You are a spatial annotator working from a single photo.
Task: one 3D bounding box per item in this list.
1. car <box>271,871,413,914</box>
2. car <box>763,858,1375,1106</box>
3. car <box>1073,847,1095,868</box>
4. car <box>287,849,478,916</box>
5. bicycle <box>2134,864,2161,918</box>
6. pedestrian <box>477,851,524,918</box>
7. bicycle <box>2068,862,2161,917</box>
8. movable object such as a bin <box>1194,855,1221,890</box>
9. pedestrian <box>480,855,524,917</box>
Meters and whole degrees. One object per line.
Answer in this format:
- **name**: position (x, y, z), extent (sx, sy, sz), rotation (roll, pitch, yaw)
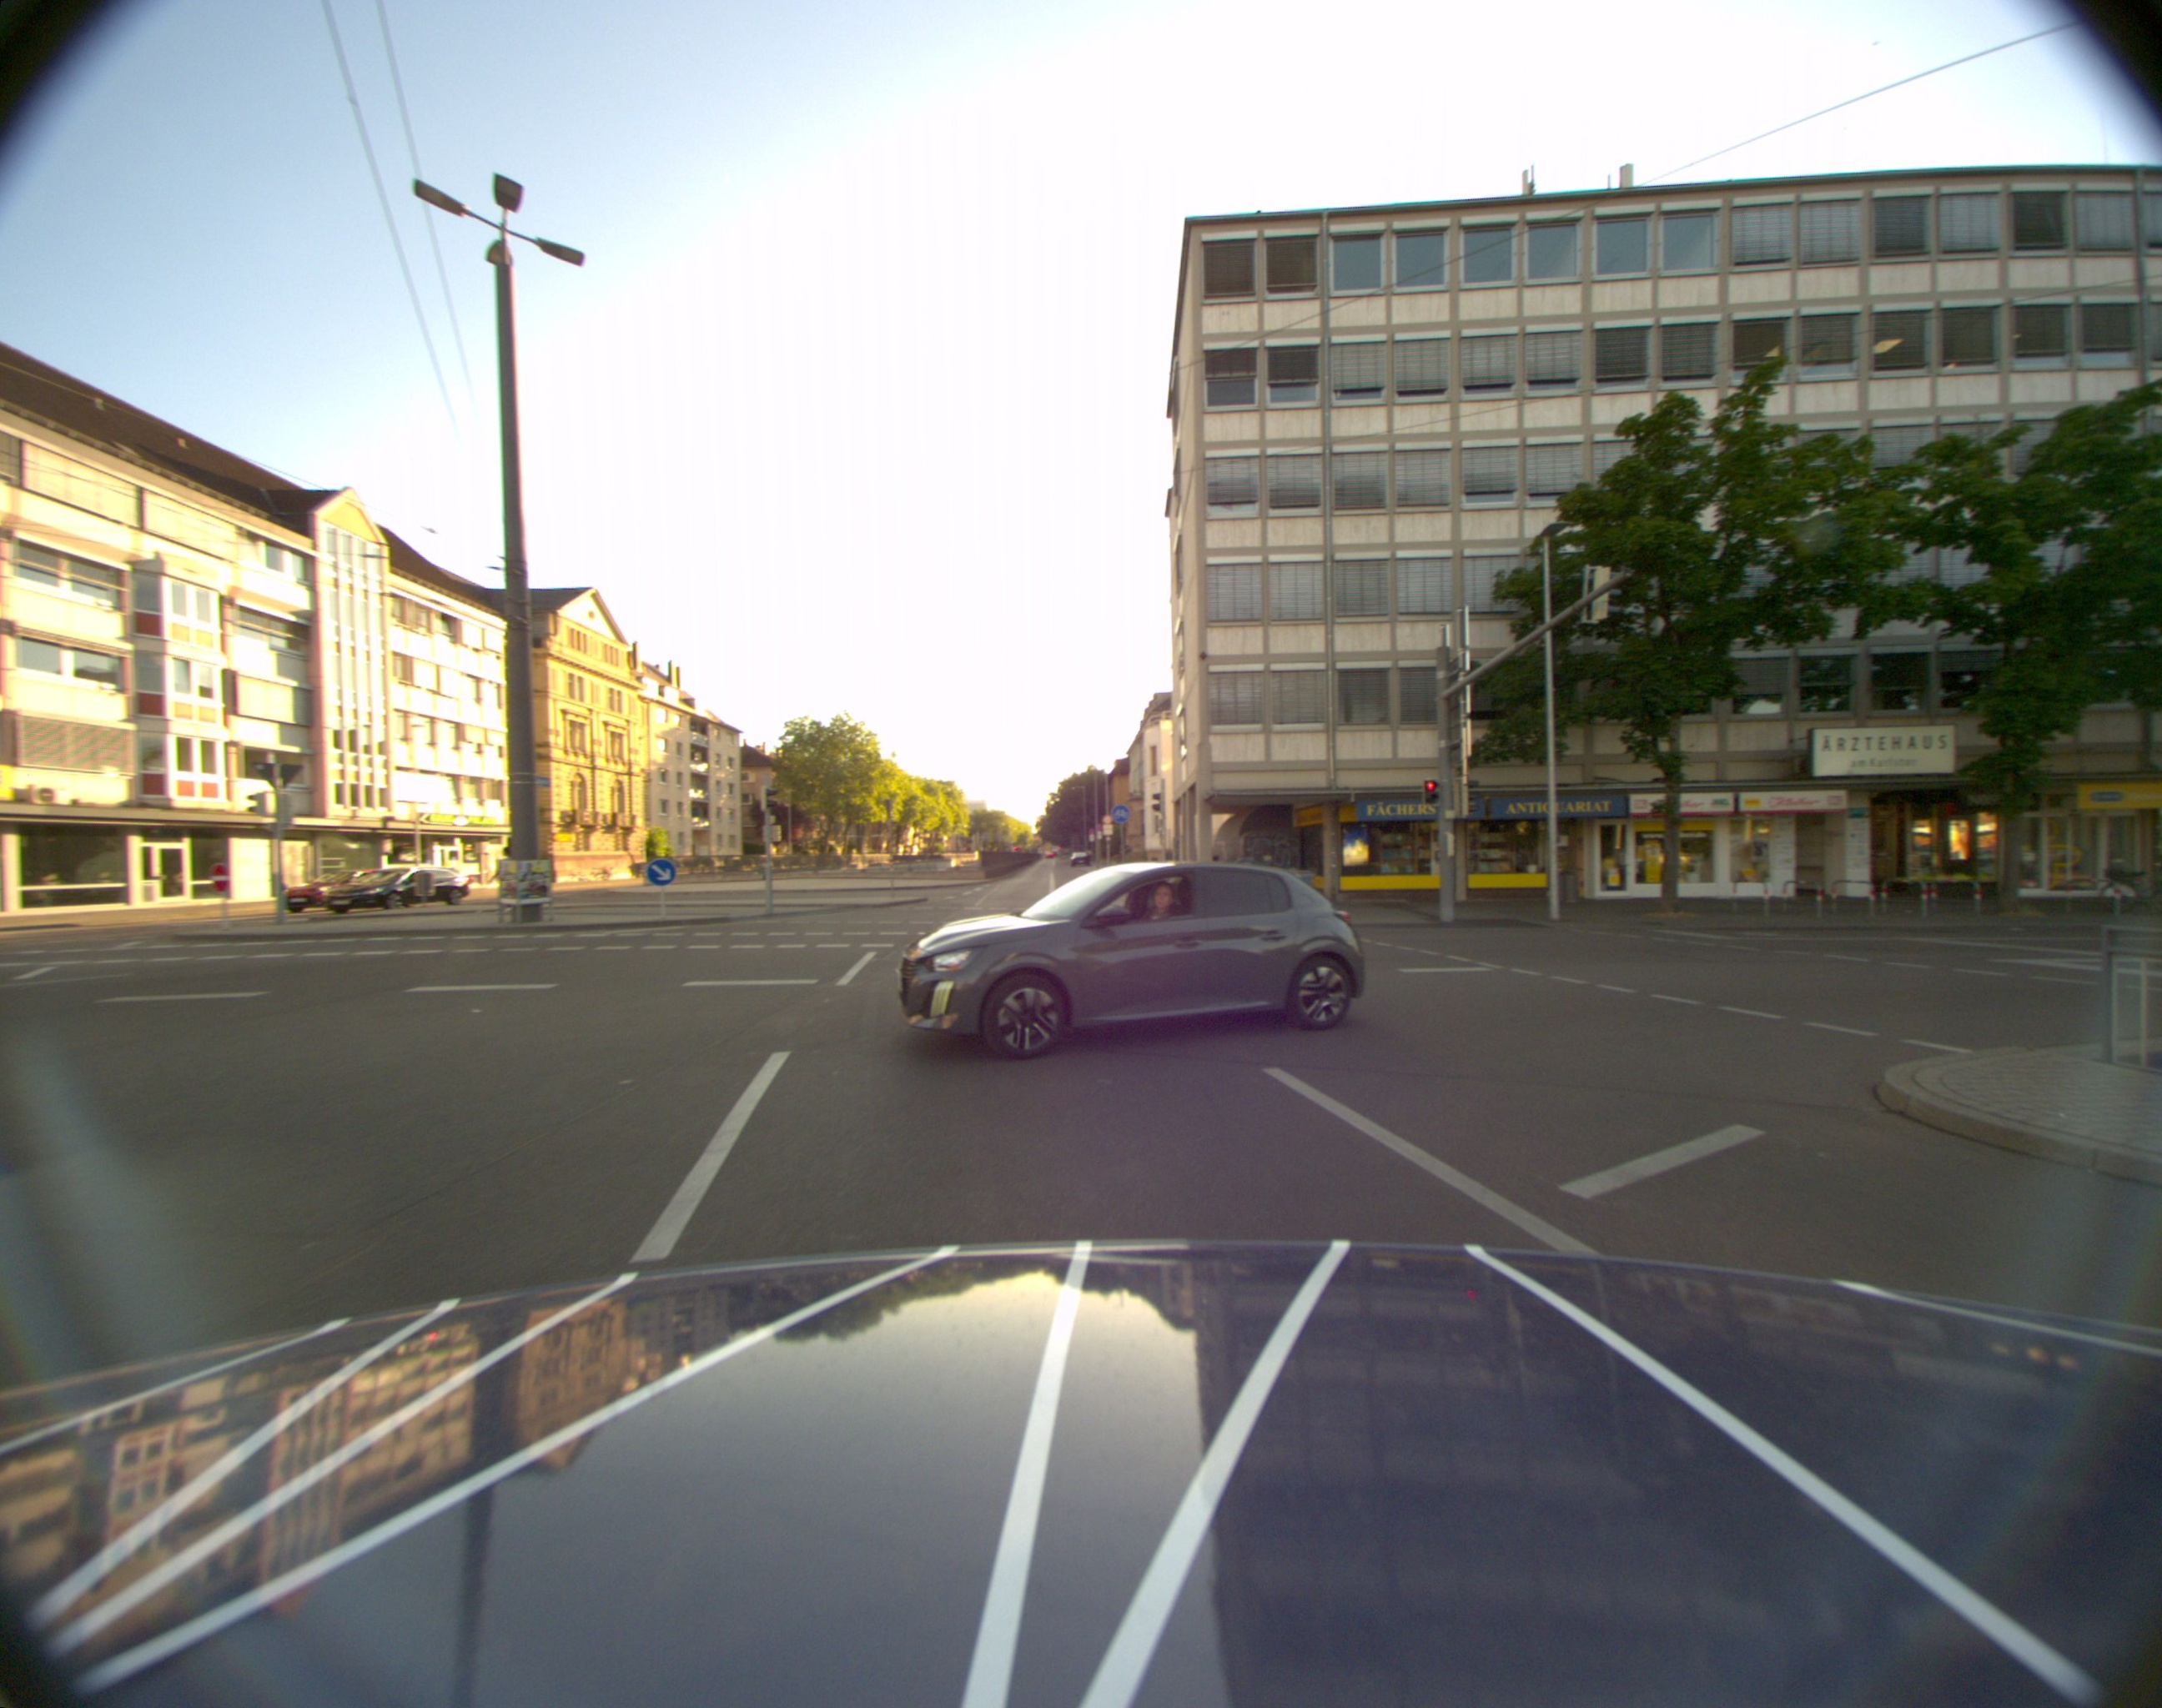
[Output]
- **car**: position (-27.522, 1.377, 28.495), extent (1.648, 1.413, 3.895), rotation (-1, 0, -3)
- **car**: position (-0.082, 0.837, 6.523), extent (4.706, 1.495, 1.914), rotation (-1, 1, -18)
- **car**: position (0.359, 0.340, 76.873), extent (1.998, 2.002, 4.263), rotation (-1, 0, 2)
- **car**: position (-23.634, 0.889, 26.031), extent (2.221, 1.548, 4.606), rotation (1, 7, -1)
- **bicycle**: position (24.083, 0.821, 16.369), extent (0.538, 1.178, 1.637), rotation (-1, 1, 3)
- **pedestrian**: position (-14.533, 0.746, 19.023), extent (0.769, 1.639, 0.728), rotation (-1, 1, 38)
- **bicycle**: position (23.121, 0.757, 16.638), extent (0.666, 1.133, 1.745), rotation (-1, 1, -4)
- **movable object such as a bin**: position (4.920, 0.716, 29.614), extent (0.959, 1.319, 1.415), rotation (-1, 0, 6)
- **pedestrian**: position (-15.117, 0.825, 19.833), extent (0.823, 1.573, 0.707), rotation (-1, 1, 39)
